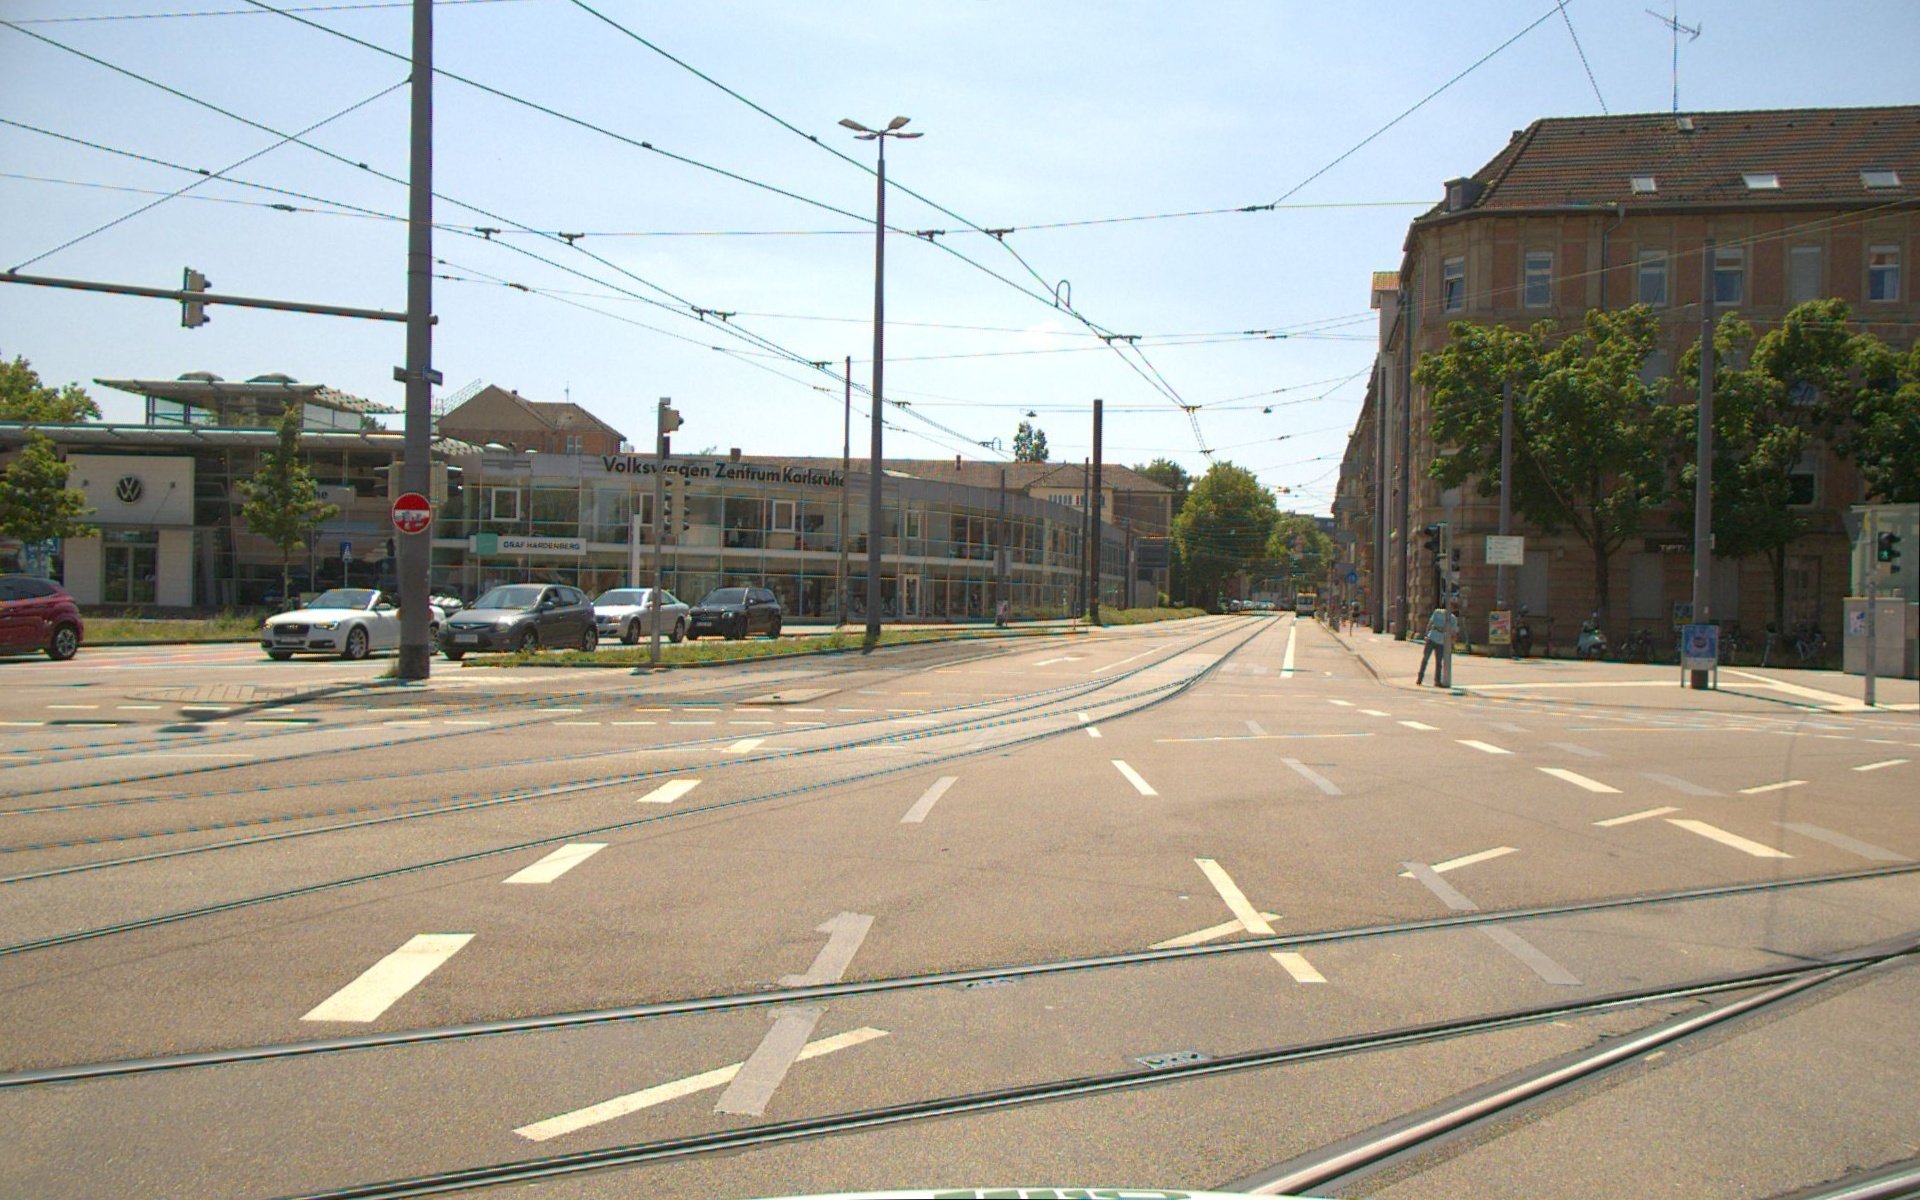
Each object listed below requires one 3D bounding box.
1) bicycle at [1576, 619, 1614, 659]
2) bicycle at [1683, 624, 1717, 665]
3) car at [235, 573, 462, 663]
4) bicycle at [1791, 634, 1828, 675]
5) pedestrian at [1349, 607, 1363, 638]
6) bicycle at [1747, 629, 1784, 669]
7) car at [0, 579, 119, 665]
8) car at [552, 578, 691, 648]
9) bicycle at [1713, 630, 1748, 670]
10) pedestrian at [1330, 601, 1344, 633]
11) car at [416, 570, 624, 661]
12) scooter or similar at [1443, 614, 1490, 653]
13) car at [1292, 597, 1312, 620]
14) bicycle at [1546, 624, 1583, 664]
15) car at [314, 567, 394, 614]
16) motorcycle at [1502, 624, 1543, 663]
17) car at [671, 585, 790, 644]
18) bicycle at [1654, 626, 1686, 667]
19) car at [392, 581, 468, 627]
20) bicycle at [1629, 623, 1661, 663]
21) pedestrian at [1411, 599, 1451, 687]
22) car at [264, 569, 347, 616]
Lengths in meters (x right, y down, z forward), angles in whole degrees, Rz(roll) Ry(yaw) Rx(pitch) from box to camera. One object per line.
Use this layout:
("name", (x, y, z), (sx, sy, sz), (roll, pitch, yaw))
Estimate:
("bicycle", (19.159, 1.172, 49.946), (0.433, 1.166, 2.094), (3, -1, 4))
("bicycle", (21.889, 1.313, 48.972), (0.539, 1.139, 1.891), (1, 0, 13))
("car", (-12.062, 0.328, 33.036), (2.032, 1.608, 4.850), (1, 0, 10))
("bicycle", (25.291, 1.617, 49.260), (0.539, 1.139, 1.822), (1, 0, 13))
("pedestrian", (26.364, 1.517, 110.175), (0.751, 2.049, 0.664), (3, -1, 9))
("bicycle", (24.122, 1.458, 49.568), (0.539, 1.139, 1.931), (1, 0, 13))
("car", (-17.733, 0.368, 29.896), (1.951, 1.491, 4.850), (1, 0, 10))
("car", (-9.186, 0.333, 45.296), (1.951, 1.770, 4.547), (1, 0, 14))
("bicycle", (23.074, 1.474, 49.569), (0.539, 1.139, 1.872), (1, 0, 13))
("pedestrian", (25.116, 1.147, 110.180), (0.751, 2.049, 0.664), (3, -1, 9))
("car", (-8.783, 0.296, 33.510), (1.951, 1.666, 4.850), (1, 0, 14))
("scooter or similar", (16.051, 1.062, 52.413), (1.776, 1.202, 0.590), (1, 0, -42))
("car", (36.815, 0.945, 177.905), (1.951, 2.219, 4.372), (3, -1, 12))
("bicycle", (18.103, 1.318, 49.564), (0.539, 1.139, 1.821), (1, 0, 3))
("car", (-24.925, -0.370, 68.192), (1.882, 1.737, 3.998), (3, -1, -2))
("motorcycle", (16.875, 1.298, 49.624), (0.568, 1.093, 1.946), (2, 0, 1))
("car", (-7.171, 0.436, 52.250), (2.034, 1.712, 4.850), (1, 0, 14))
("bicycle", (21.083, 1.369, 49.124), (0.539, 1.139, 1.822), (1, 0, 13))
("car", (-21.936, 0.193, 68.579), (1.882, 1.737, 3.998), (3, -1, -2))
("bicycle", (20.413, 1.276, 49.314), (0.539, 1.139, 1.822), (1, 0, 13))
("pedestrian", (9.479, 0.855, 33.297), (0.453, 1.738, 0.637), (1, 0, -18))
("car", (-26.887, -0.287, 68.089), (1.882, 1.737, 3.998), (3, -1, -2))
